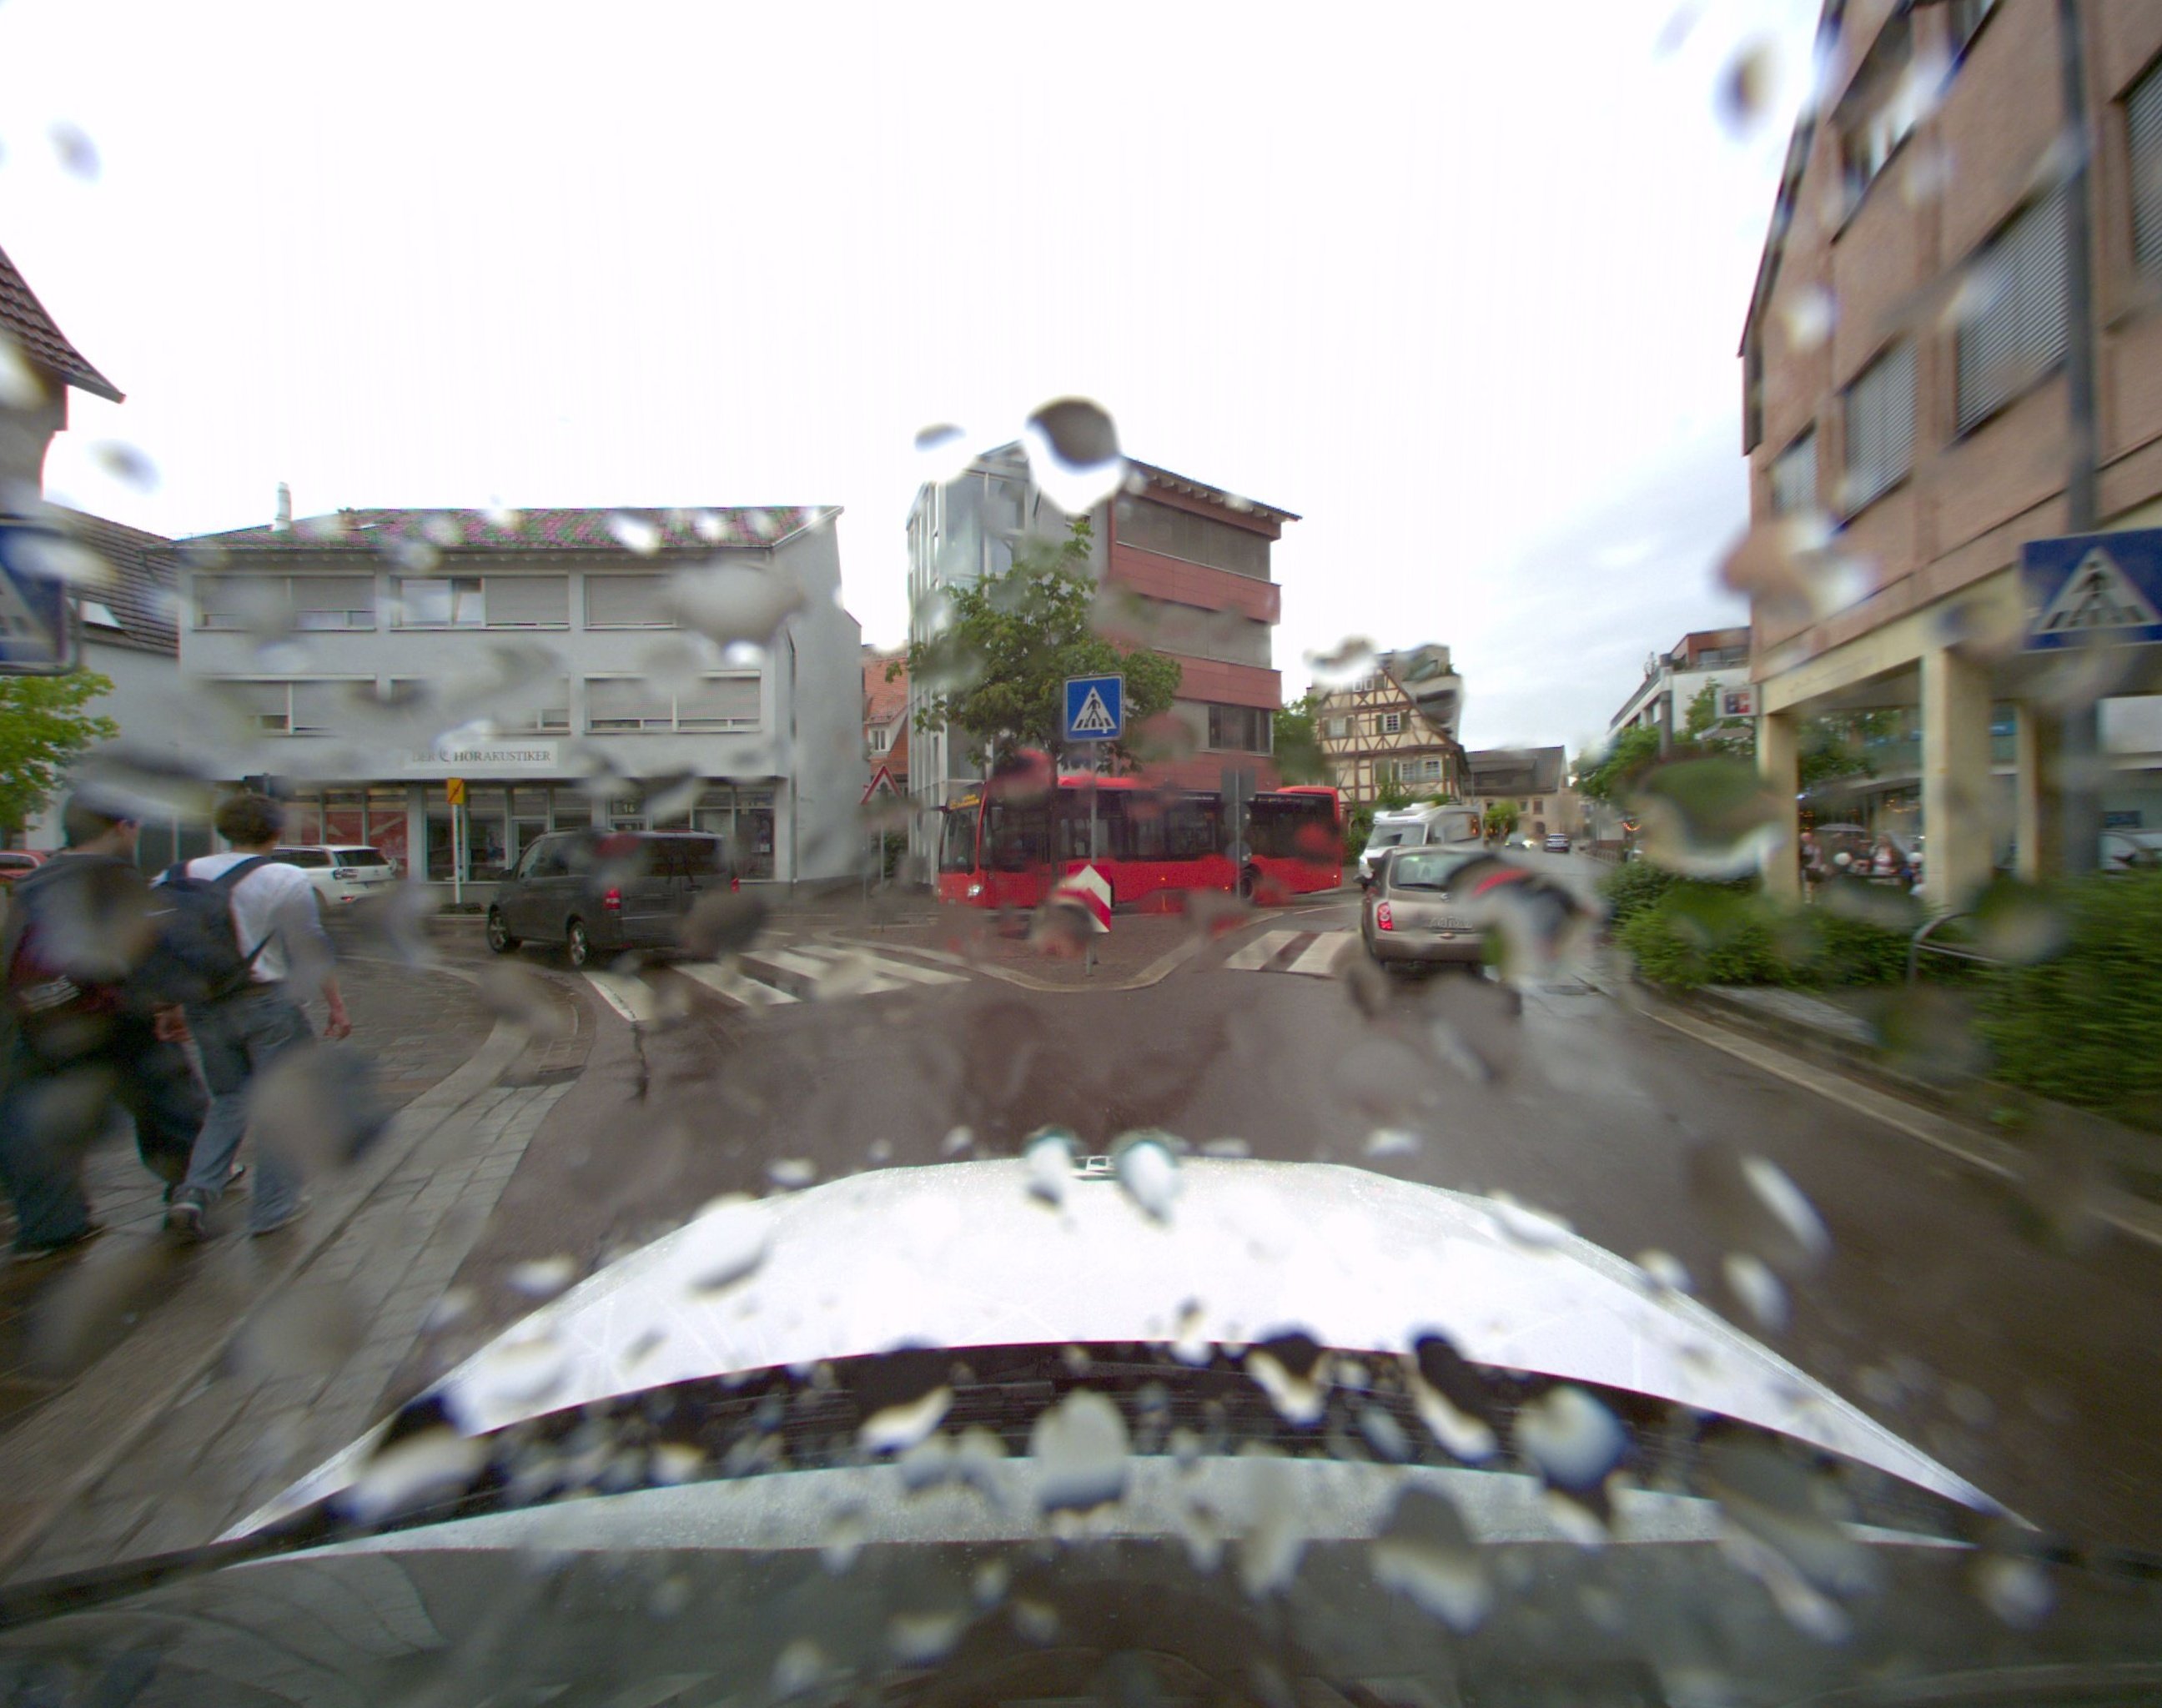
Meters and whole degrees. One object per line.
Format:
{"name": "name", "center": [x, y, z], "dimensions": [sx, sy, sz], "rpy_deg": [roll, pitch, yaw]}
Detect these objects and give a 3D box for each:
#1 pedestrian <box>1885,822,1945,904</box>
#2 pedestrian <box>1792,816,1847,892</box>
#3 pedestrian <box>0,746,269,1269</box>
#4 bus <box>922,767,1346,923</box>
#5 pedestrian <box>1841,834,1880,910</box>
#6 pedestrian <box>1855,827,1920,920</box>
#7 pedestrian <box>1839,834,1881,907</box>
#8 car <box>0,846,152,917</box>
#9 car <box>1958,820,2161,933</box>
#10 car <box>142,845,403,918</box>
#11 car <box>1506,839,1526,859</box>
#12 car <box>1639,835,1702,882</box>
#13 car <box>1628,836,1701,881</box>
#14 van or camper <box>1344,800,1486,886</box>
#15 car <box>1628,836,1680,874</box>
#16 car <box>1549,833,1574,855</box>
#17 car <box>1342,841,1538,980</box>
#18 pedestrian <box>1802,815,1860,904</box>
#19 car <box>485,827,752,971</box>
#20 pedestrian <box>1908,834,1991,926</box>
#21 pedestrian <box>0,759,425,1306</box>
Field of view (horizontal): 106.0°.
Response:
{"name": "pedestrian", "center": [17.572, 0.182, 17.179], "dimensions": [0.628, 1.689, 0.747], "rpy_deg": [-1, 0, 24]}
{"name": "pedestrian", "center": [17.351, 0.006, 19.149], "dimensions": [0.726, 1.748, 0.898], "rpy_deg": [-1, 0, 27]}
{"name": "pedestrian", "center": [-4.125, 0.534, 3.272], "dimensions": [0.691, 1.800, 1.056], "rpy_deg": [-1, 0, -6]}
{"name": "bus", "center": [1.695, -0.361, 20.043], "dimensions": [10.641, 3.088, 2.795], "rpy_deg": [-2, 1, -30]}
{"name": "pedestrian", "center": [15.814, 0.357, 16.522], "dimensions": [0.493, 1.509, 0.492], "rpy_deg": [-1, 0, -40]}
{"name": "pedestrian", "center": [15.081, 0.353, 15.223], "dimensions": [0.736, 1.689, 0.717], "rpy_deg": [-1, 0, -35]}
{"name": "pedestrian", "center": [17.916, 0.372, 18.743], "dimensions": [0.535, 1.663, 0.524], "rpy_deg": [-1, 0, 26]}
{"name": "car", "center": [-24.407, 0.604, 18.824], "dimensions": [3.777, 1.528, 1.681], "rpy_deg": [0, 1, -3]}
{"name": "car", "center": [13.668, 0.231, 10.364], "dimensions": [1.747, 1.276, 4.496], "rpy_deg": [-1, 0, 23]}
{"name": "car", "center": [-18.857, 0.598, 19.157], "dimensions": [4.205, 1.612, 1.690], "rpy_deg": [0, 1, -5]}
{"name": "car", "center": [39.091, -0.449, 73.179], "dimensions": [1.571, 1.712, 3.341], "rpy_deg": [-1, 0, 28]}
{"name": "car", "center": [18.588, 0.130, 25.746], "dimensions": [1.522, 1.362, 3.395], "rpy_deg": [-1, 0, 35]}
{"name": "car", "center": [21.700, 0.137, 30.415], "dimensions": [1.608, 1.501, 4.024], "rpy_deg": [-4, -1, 28]}
{"name": "van or camper", "center": [11.568, -0.406, 27.806], "dimensions": [2.415, 2.585, 6.793], "rpy_deg": [0, 1, 41]}
{"name": "car", "center": [24.523, 0.010, 34.944], "dimensions": [1.600, 1.413, 4.026], "rpy_deg": [-4, -1, 33]}
{"name": "car", "center": [38.699, -0.798, 65.632], "dimensions": [1.658, 1.712, 3.341], "rpy_deg": [-1, 0, 31]}
{"name": "car", "center": [4.367, 0.595, 10.389], "dimensions": [1.513, 1.471, 3.351], "rpy_deg": [-1, 0, 10]}
{"name": "pedestrian", "center": [14.563, 0.099, 15.811], "dimensions": [0.825, 1.661, 0.690], "rpy_deg": [-1, 0, -40]}
{"name": "car", "center": [-7.087, 0.514, 12.276], "dimensions": [4.666, 1.780, 1.965], "rpy_deg": [1, 1, 40]}
{"name": "pedestrian", "center": [16.139, 0.467, 15.134], "dimensions": [0.737, 1.639, 0.956], "rpy_deg": [0, 0, -36]}
{"name": "pedestrian", "center": [-3.351, 0.585, 3.277], "dimensions": [0.663, 1.806, 1.057], "rpy_deg": [-1, 0, -10]}
